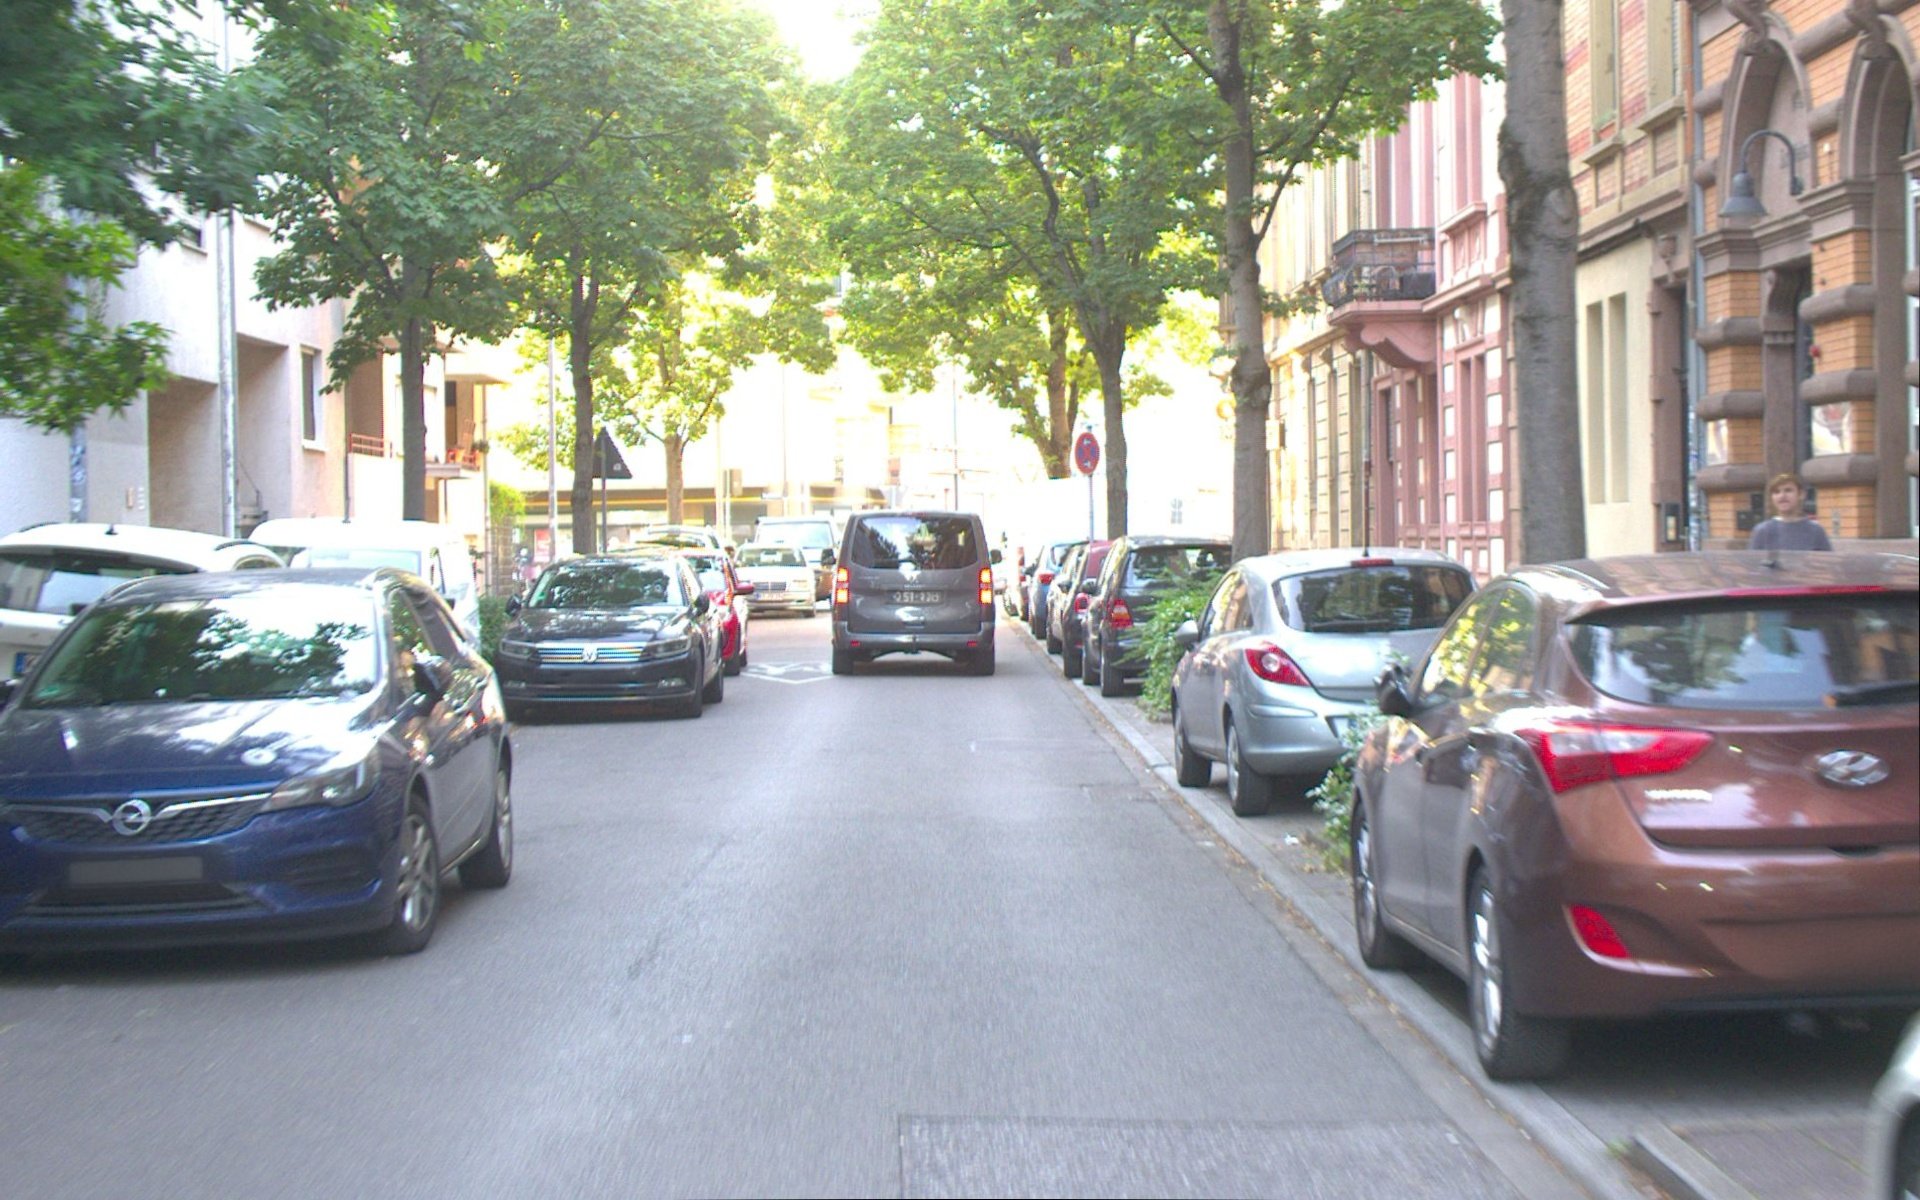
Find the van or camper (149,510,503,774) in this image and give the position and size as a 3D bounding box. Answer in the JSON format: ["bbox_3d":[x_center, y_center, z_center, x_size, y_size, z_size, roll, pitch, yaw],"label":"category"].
[{"bbox_3d":[-4.764,0.246,26.448,1.931,1.754,4.466,3,1,-2],"label":"van or camper"}]

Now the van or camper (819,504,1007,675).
[{"bbox_3d":[-0.495,-0.148,40.526,2.035,1.891,4.271,0,1,1],"label":"van or camper"}]

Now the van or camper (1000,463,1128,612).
[{"bbox_3d":[1.849,-1.140,62.848,1.993,2.590,5.425,0,1,-2],"label":"van or camper"}]

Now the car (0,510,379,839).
[{"bbox_3d":[-4.905,0.343,20.756,2.034,1.666,4.649,3,1,-2],"label":"car"}]

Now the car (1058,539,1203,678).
[{"bbox_3d":[1.925,0.061,39.151,1.551,1.491,3.610,1,1,2],"label":"car"}]

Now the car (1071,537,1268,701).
[{"bbox_3d":[2.072,0.151,34.853,1.611,1.553,3.766,-1,1,-2],"label":"car"}]

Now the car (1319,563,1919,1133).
[{"bbox_3d":[2.254,0.615,10.942,1.722,1.445,4.215,-1,1,-1],"label":"car"}]

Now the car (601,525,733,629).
[{"bbox_3d":[-4.919,-0.411,58.191,1.897,1.631,4.156,2,1,-1],"label":"car"}]

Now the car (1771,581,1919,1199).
[{"bbox_3d":[2.289,0.701,3.606,1.693,1.396,4.646,-1,1,-1],"label":"car"}]

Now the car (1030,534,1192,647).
[{"bbox_3d":[1.912,-0.149,44.467,1.715,1.398,3.814,0,1,-3],"label":"car"}]

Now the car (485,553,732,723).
[{"bbox_3d":[-3.197,0.299,32.069,1.846,1.446,4.503,1,1,0],"label":"car"}]

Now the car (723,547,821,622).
[{"bbox_3d":[-3.626,-0.322,66.746,1.741,1.399,3.375,-1,1,-1],"label":"car"}]

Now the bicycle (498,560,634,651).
[{"bbox_3d":[-5.350,0.074,46.723,0.605,1.191,1.824,4,2,45],"label":"bicycle"}]

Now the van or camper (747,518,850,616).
[{"bbox_3d":[-3.336,-0.706,71.844,1.862,1.976,4.271,-1,1,1],"label":"van or camper"}]

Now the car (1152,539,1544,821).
[{"bbox_3d":[2.225,0.401,20.715,1.697,1.477,4.001,-2,1,-2],"label":"car"}]

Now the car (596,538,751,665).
[{"bbox_3d":[-3.365,-0.012,40.899,1.630,1.425,3.543,-1,1,-1],"label":"car"}]

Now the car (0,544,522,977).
[{"bbox_3d":[-2.977,0.534,14.241,1.830,1.512,4.516,0,1,-1],"label":"car"}]

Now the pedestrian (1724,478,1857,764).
[{"bbox_3d":[4.854,0.118,20.115,0.627,1.643,0.532,1,1,0],"label":"pedestrian"}]

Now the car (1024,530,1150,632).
[{"bbox_3d":[1.885,-0.309,51.877,1.750,1.466,3.776,0,1,0],"label":"car"}]

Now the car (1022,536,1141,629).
[{"bbox_3d":[1.981,-0.320,57.134,1.750,1.466,3.776,-1,1,-1],"label":"car"}]
